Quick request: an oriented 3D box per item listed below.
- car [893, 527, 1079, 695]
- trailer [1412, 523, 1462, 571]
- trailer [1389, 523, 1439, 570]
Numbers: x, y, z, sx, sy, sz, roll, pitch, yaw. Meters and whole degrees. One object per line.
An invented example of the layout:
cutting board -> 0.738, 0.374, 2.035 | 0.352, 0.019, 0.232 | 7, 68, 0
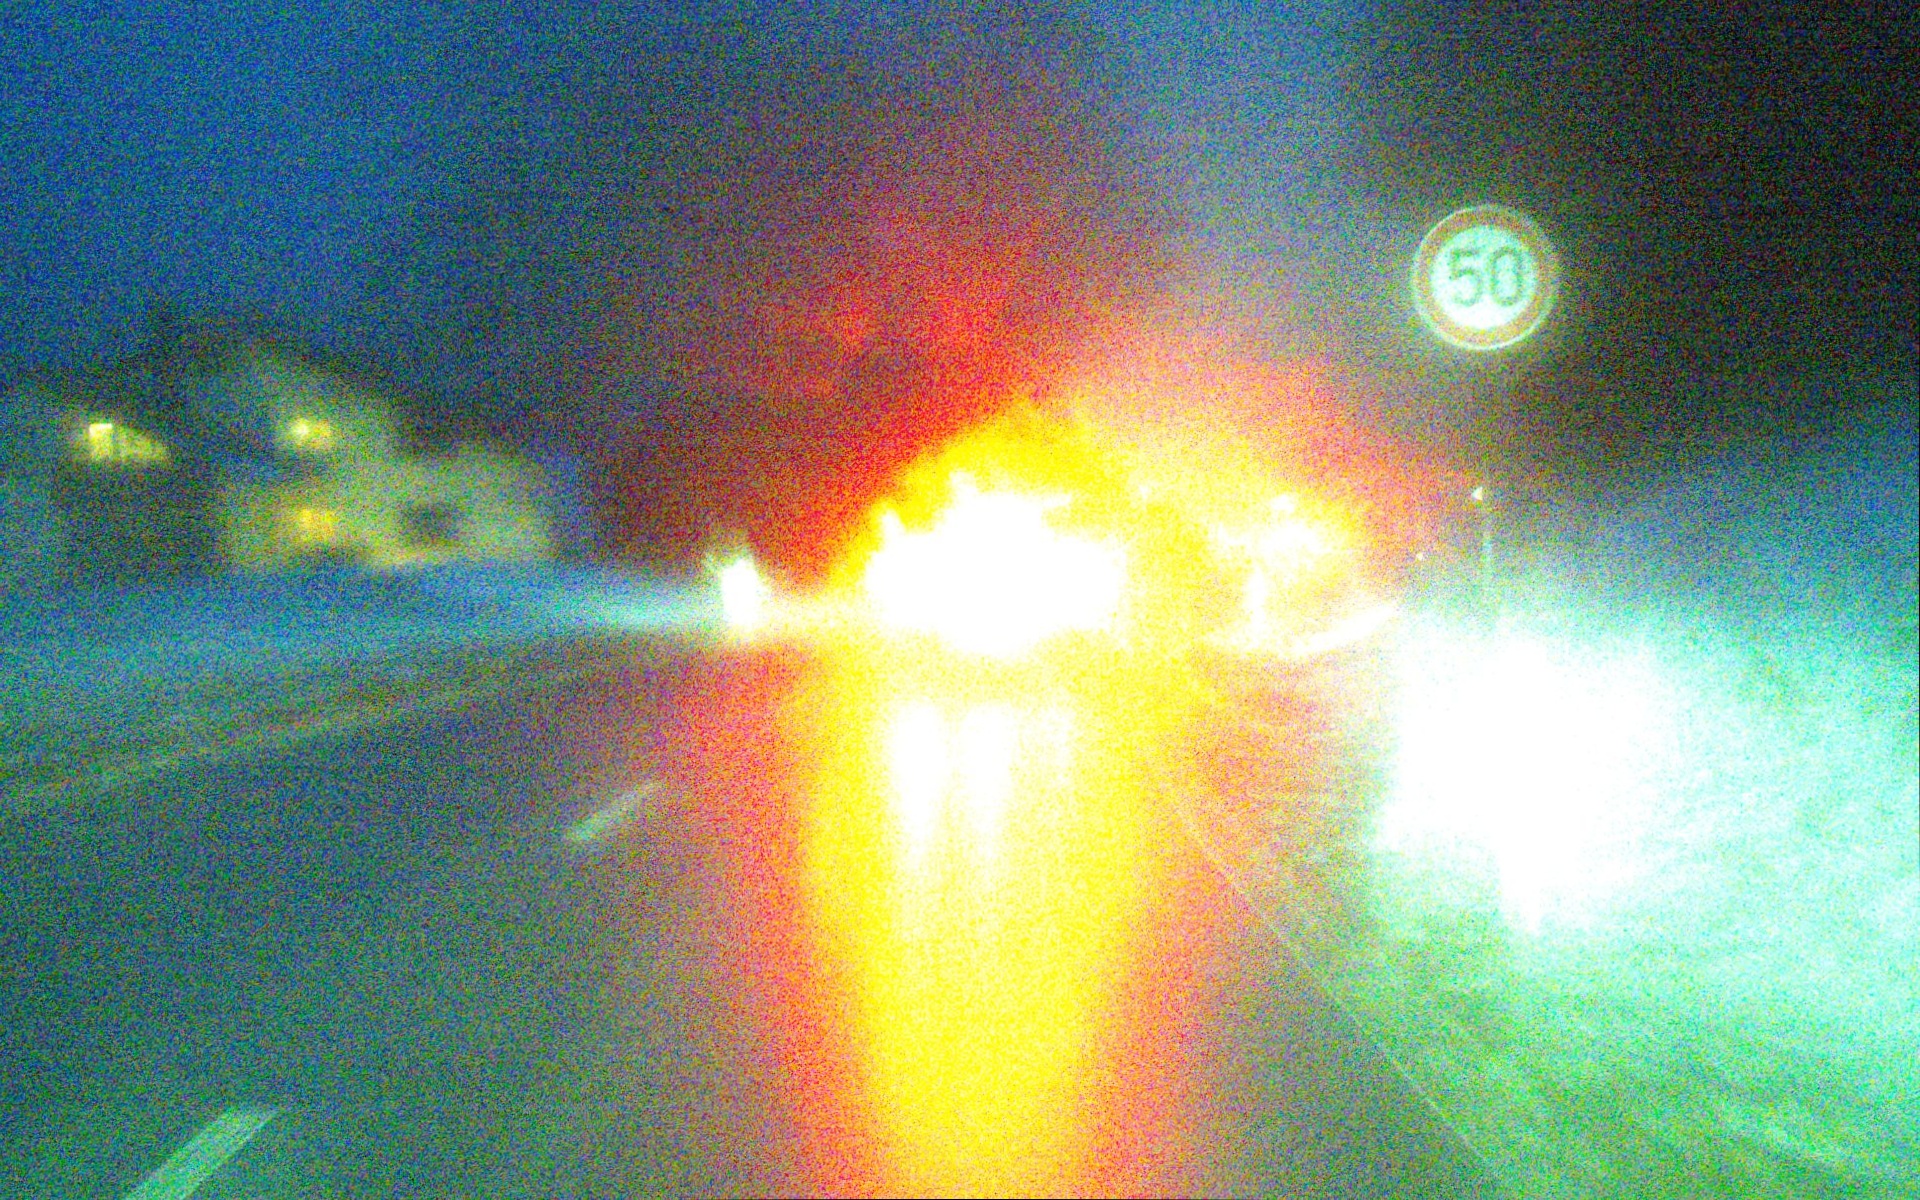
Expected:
car -> 0.311, 0.077, 35.698 | 1.801, 1.623, 3.615 | -1, 1, 2
trailer -> 23.969, -2.678, 172.745 | 1.605, 2.344, 4.432 | 1, 1, -3
trailer -> 23.446, -2.753, 177.661 | 1.630, 2.356, 4.654 | 1, 1, -5
